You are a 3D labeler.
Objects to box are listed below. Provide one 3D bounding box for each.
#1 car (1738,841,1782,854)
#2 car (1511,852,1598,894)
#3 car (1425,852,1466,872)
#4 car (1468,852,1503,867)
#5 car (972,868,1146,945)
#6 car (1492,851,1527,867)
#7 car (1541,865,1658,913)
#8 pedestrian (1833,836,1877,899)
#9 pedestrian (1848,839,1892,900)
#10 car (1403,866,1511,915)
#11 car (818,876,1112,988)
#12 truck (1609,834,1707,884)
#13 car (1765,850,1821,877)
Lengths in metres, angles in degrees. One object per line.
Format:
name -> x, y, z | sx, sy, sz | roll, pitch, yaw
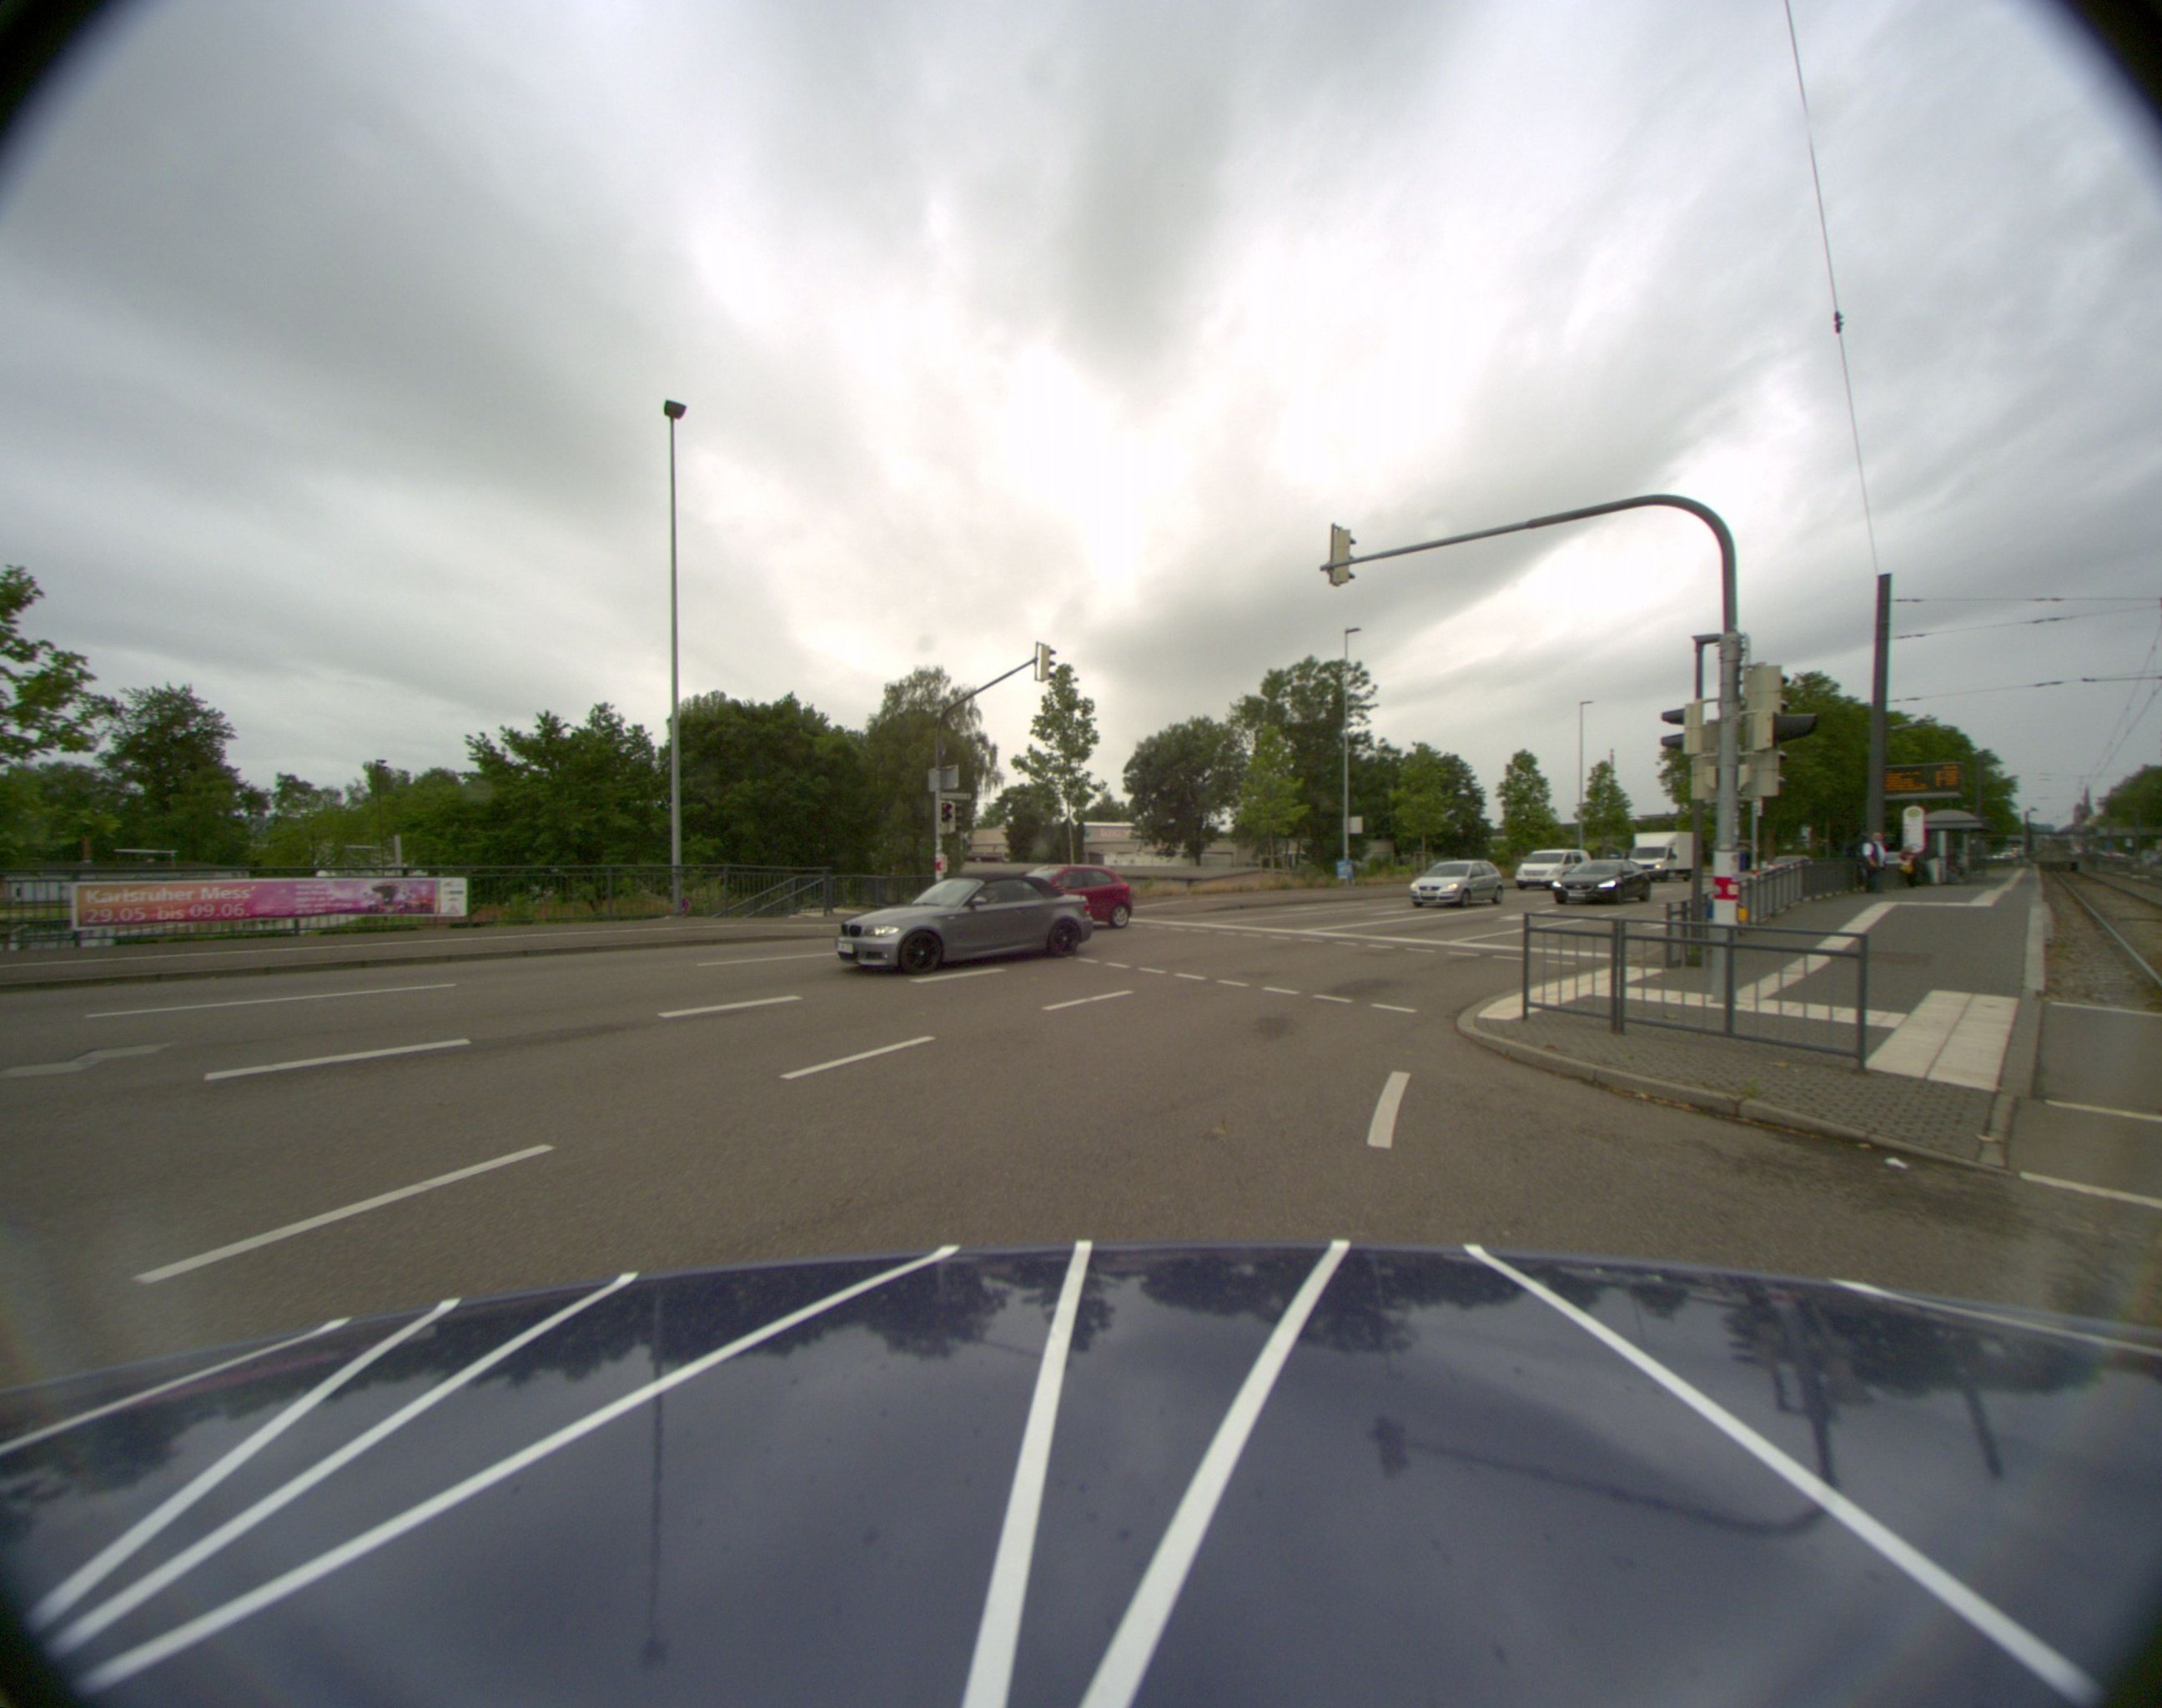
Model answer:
car -> 84.899, -0.840, 95.033 | 1.814, 1.499, 3.989 | -2, 0, -42
car -> 23.004, 0.882, 36.846 | 5.131, 1.869, 2.095 | 0, -1, -40
car -> 39.780, 0.854, 82.946 | 4.567, 2.002, 2.183 | 1, 2, -38
car -> 47.618, 0.638, 89.327 | 4.660, 1.686, 2.118 | 0, -1, -42
car -> -0.445, 1.131, 17.657 | 3.779, 1.552, 1.652 | 0, 0, -38
car -> 54.256, 0.614, 96.211 | 4.567, 2.001, 2.311 | 1, -1, -39
car -> 16.983, 1.068, 24.802 | 4.352, 1.382, 1.995 | 0, -1, -39
pedestrian -> 22.076, 0.377, 21.673 | 0.588, 1.731, 0.786 | -2, 1, -35
pedestrian -> 20.757, 0.397, 19.996 | 0.633, 1.551, 0.709 | -2, 0, -35
car -> 12.225, 1.137, 24.614 | 3.858, 1.410, 1.678 | 0, -1, -39
car -> -1.716, 1.094, 12.202 | 4.353, 1.382, 1.871 | 0, -1, -43
truck -> 35.409, 0.297, 46.571 | 6.556, 2.906, 2.821 | 0, 0, -34
car -> 48.060, 0.606, 51.247 | 4.007, 1.673, 1.889 | -1, 0, -34
